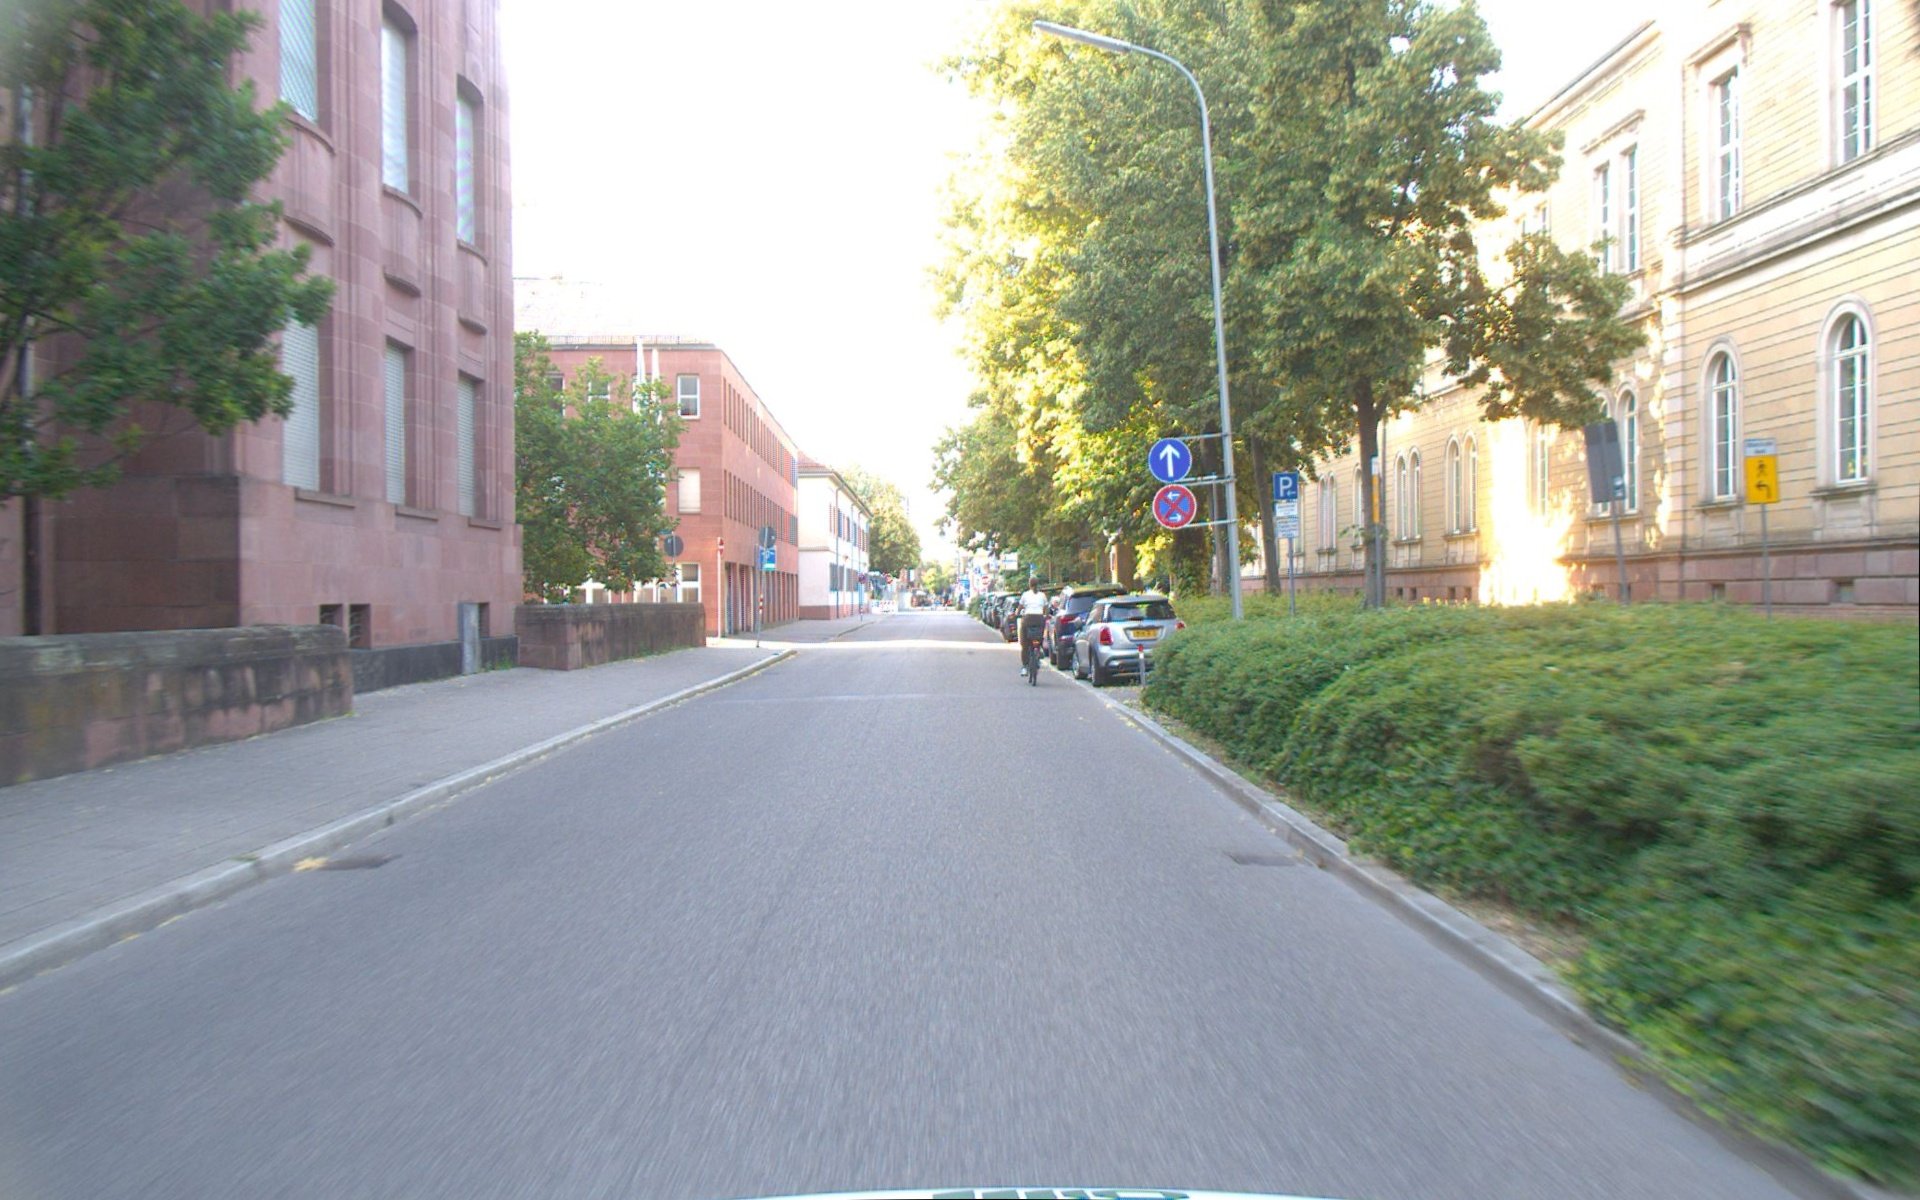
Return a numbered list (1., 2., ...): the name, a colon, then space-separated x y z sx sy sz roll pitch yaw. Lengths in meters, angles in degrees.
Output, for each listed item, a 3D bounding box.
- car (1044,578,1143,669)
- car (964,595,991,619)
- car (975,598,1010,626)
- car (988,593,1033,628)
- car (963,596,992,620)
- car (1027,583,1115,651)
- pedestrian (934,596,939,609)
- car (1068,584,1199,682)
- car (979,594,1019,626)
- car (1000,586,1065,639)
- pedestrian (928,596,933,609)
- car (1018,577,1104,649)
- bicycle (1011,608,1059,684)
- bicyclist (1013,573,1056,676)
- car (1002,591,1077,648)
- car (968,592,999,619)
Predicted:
1. car: 2.716 0.441 34.531 1.680 1.742 4.472 -1 0 0
2. car: 1.762 0.697 166.202 2.443 2.234 4.908 -1 0 -2
3. car: 2.039 0.739 104.535 1.953 1.657 3.999 -1 0 -2
4. car: 2.412 0.475 79.910 1.953 1.612 3.999 -1 0 -2
5. car: 1.433 0.633 138.190 2.235 1.886 4.908 -1 0 -2
6. car: 2.678 0.383 40.679 1.681 1.564 4.046 -1 0 -2
7. pedestrian: -2.739 0.339 193.792 0.523 1.497 0.448 -1 0 -3
8. car: 2.904 0.556 28.354 1.652 1.472 3.670 -3 -1 -2
9. car: 2.111 0.544 90.079 1.953 1.657 3.999 -1 0 -2
10. car: 2.483 0.425 57.857 1.953 1.735 3.999 -1 0 -2
11. pedestrian: -3.419 0.328 193.872 0.523 1.497 0.448 -1 0 -3
12. car: 2.703 0.333 45.048 1.953 1.847 3.999 -1 0 -2
13. bicycle: 1.252 0.755 27.821 0.625 1.214 1.875 1 0 -2
14. bicyclist: 1.251 0.406 27.993 0.626 1.696 0.842 1 0 -2
15. car: 2.395 0.559 50.680 1.953 1.624 3.999 -1 0 -2
16. car: 1.641 0.378 116.192 1.953 1.779 3.999 -1 0 -2
